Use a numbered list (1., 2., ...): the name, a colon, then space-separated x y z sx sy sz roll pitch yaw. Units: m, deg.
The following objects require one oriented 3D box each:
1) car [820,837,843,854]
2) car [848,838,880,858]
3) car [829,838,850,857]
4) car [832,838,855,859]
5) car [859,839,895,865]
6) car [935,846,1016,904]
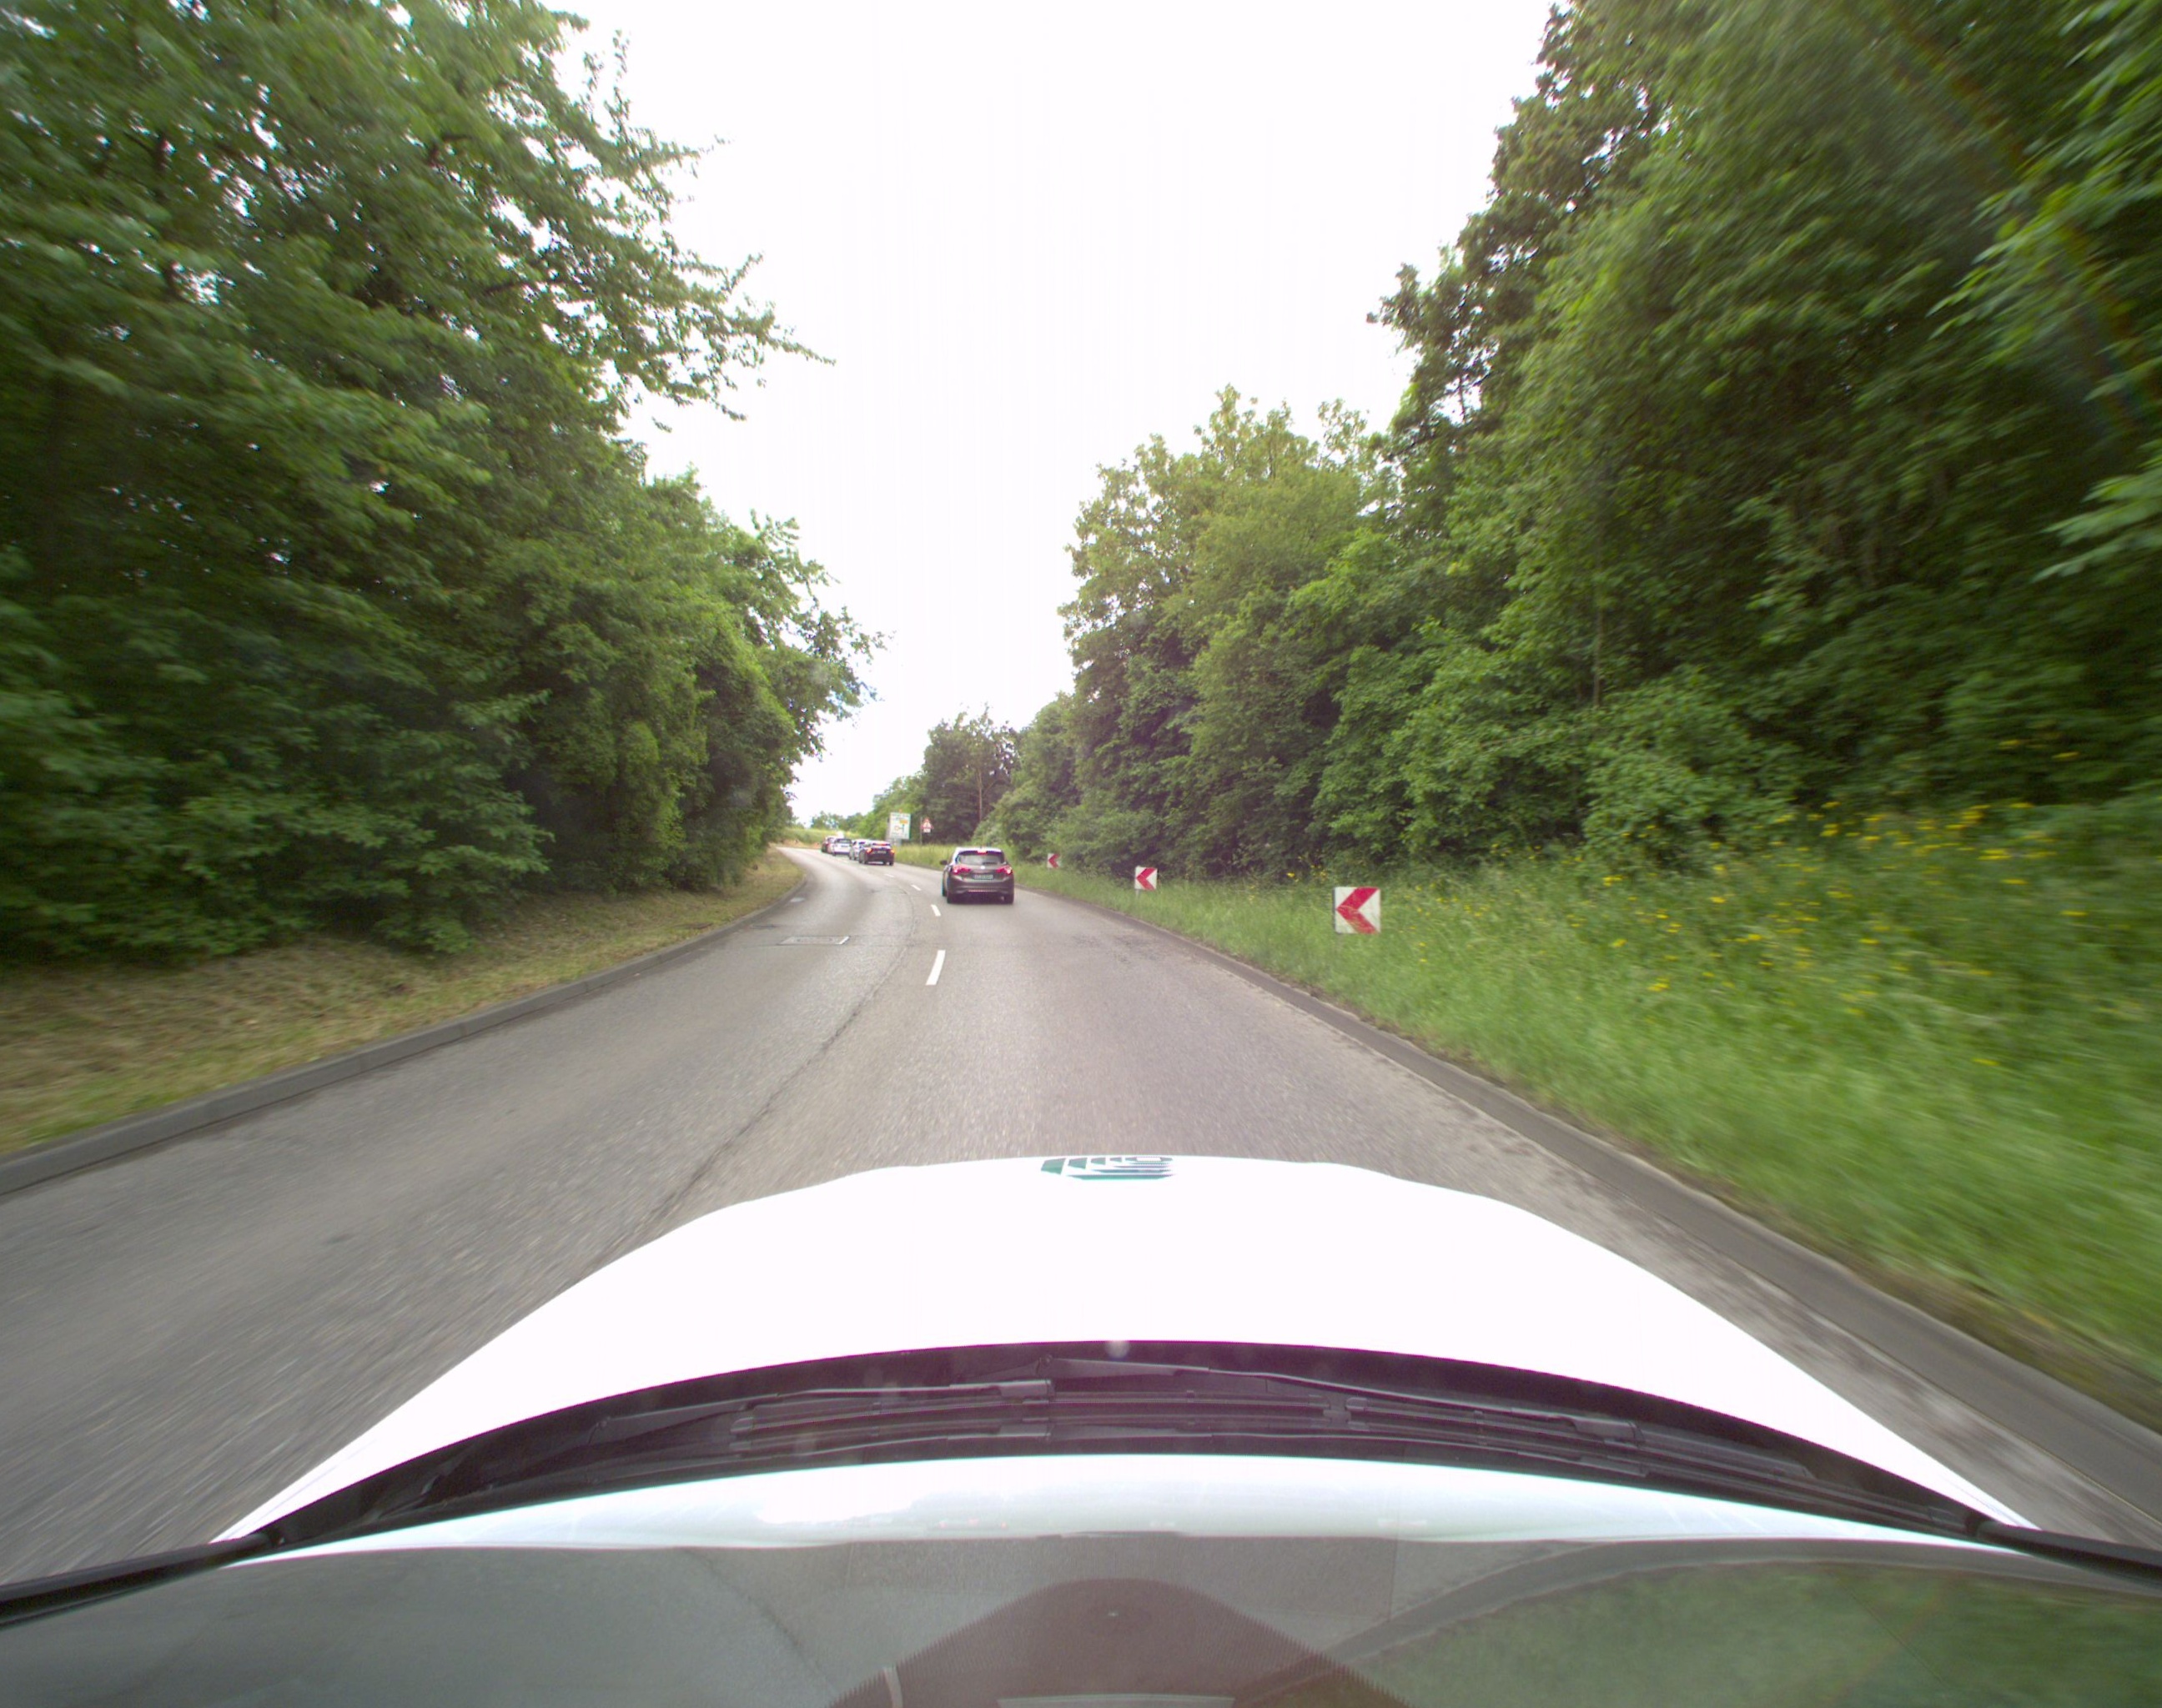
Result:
1. car: -28.483 -0.984 92.921 2.003 1.783 3.967 2 -2 -25
2. car: -15.624 -0.462 58.476 1.846 1.387 3.972 0 1 -21
3. car: -22.277 -0.563 74.969 1.775 1.633 3.869 0 -2 -17
4. car: -19.876 -0.438 67.967 1.775 1.633 3.869 0 -1 -17
5. car: -12.692 -0.145 50.530 1.845 1.386 3.975 1 2 -19
6. car: -3.057 0.508 22.979 1.842 1.483 3.982 0 1 -14
